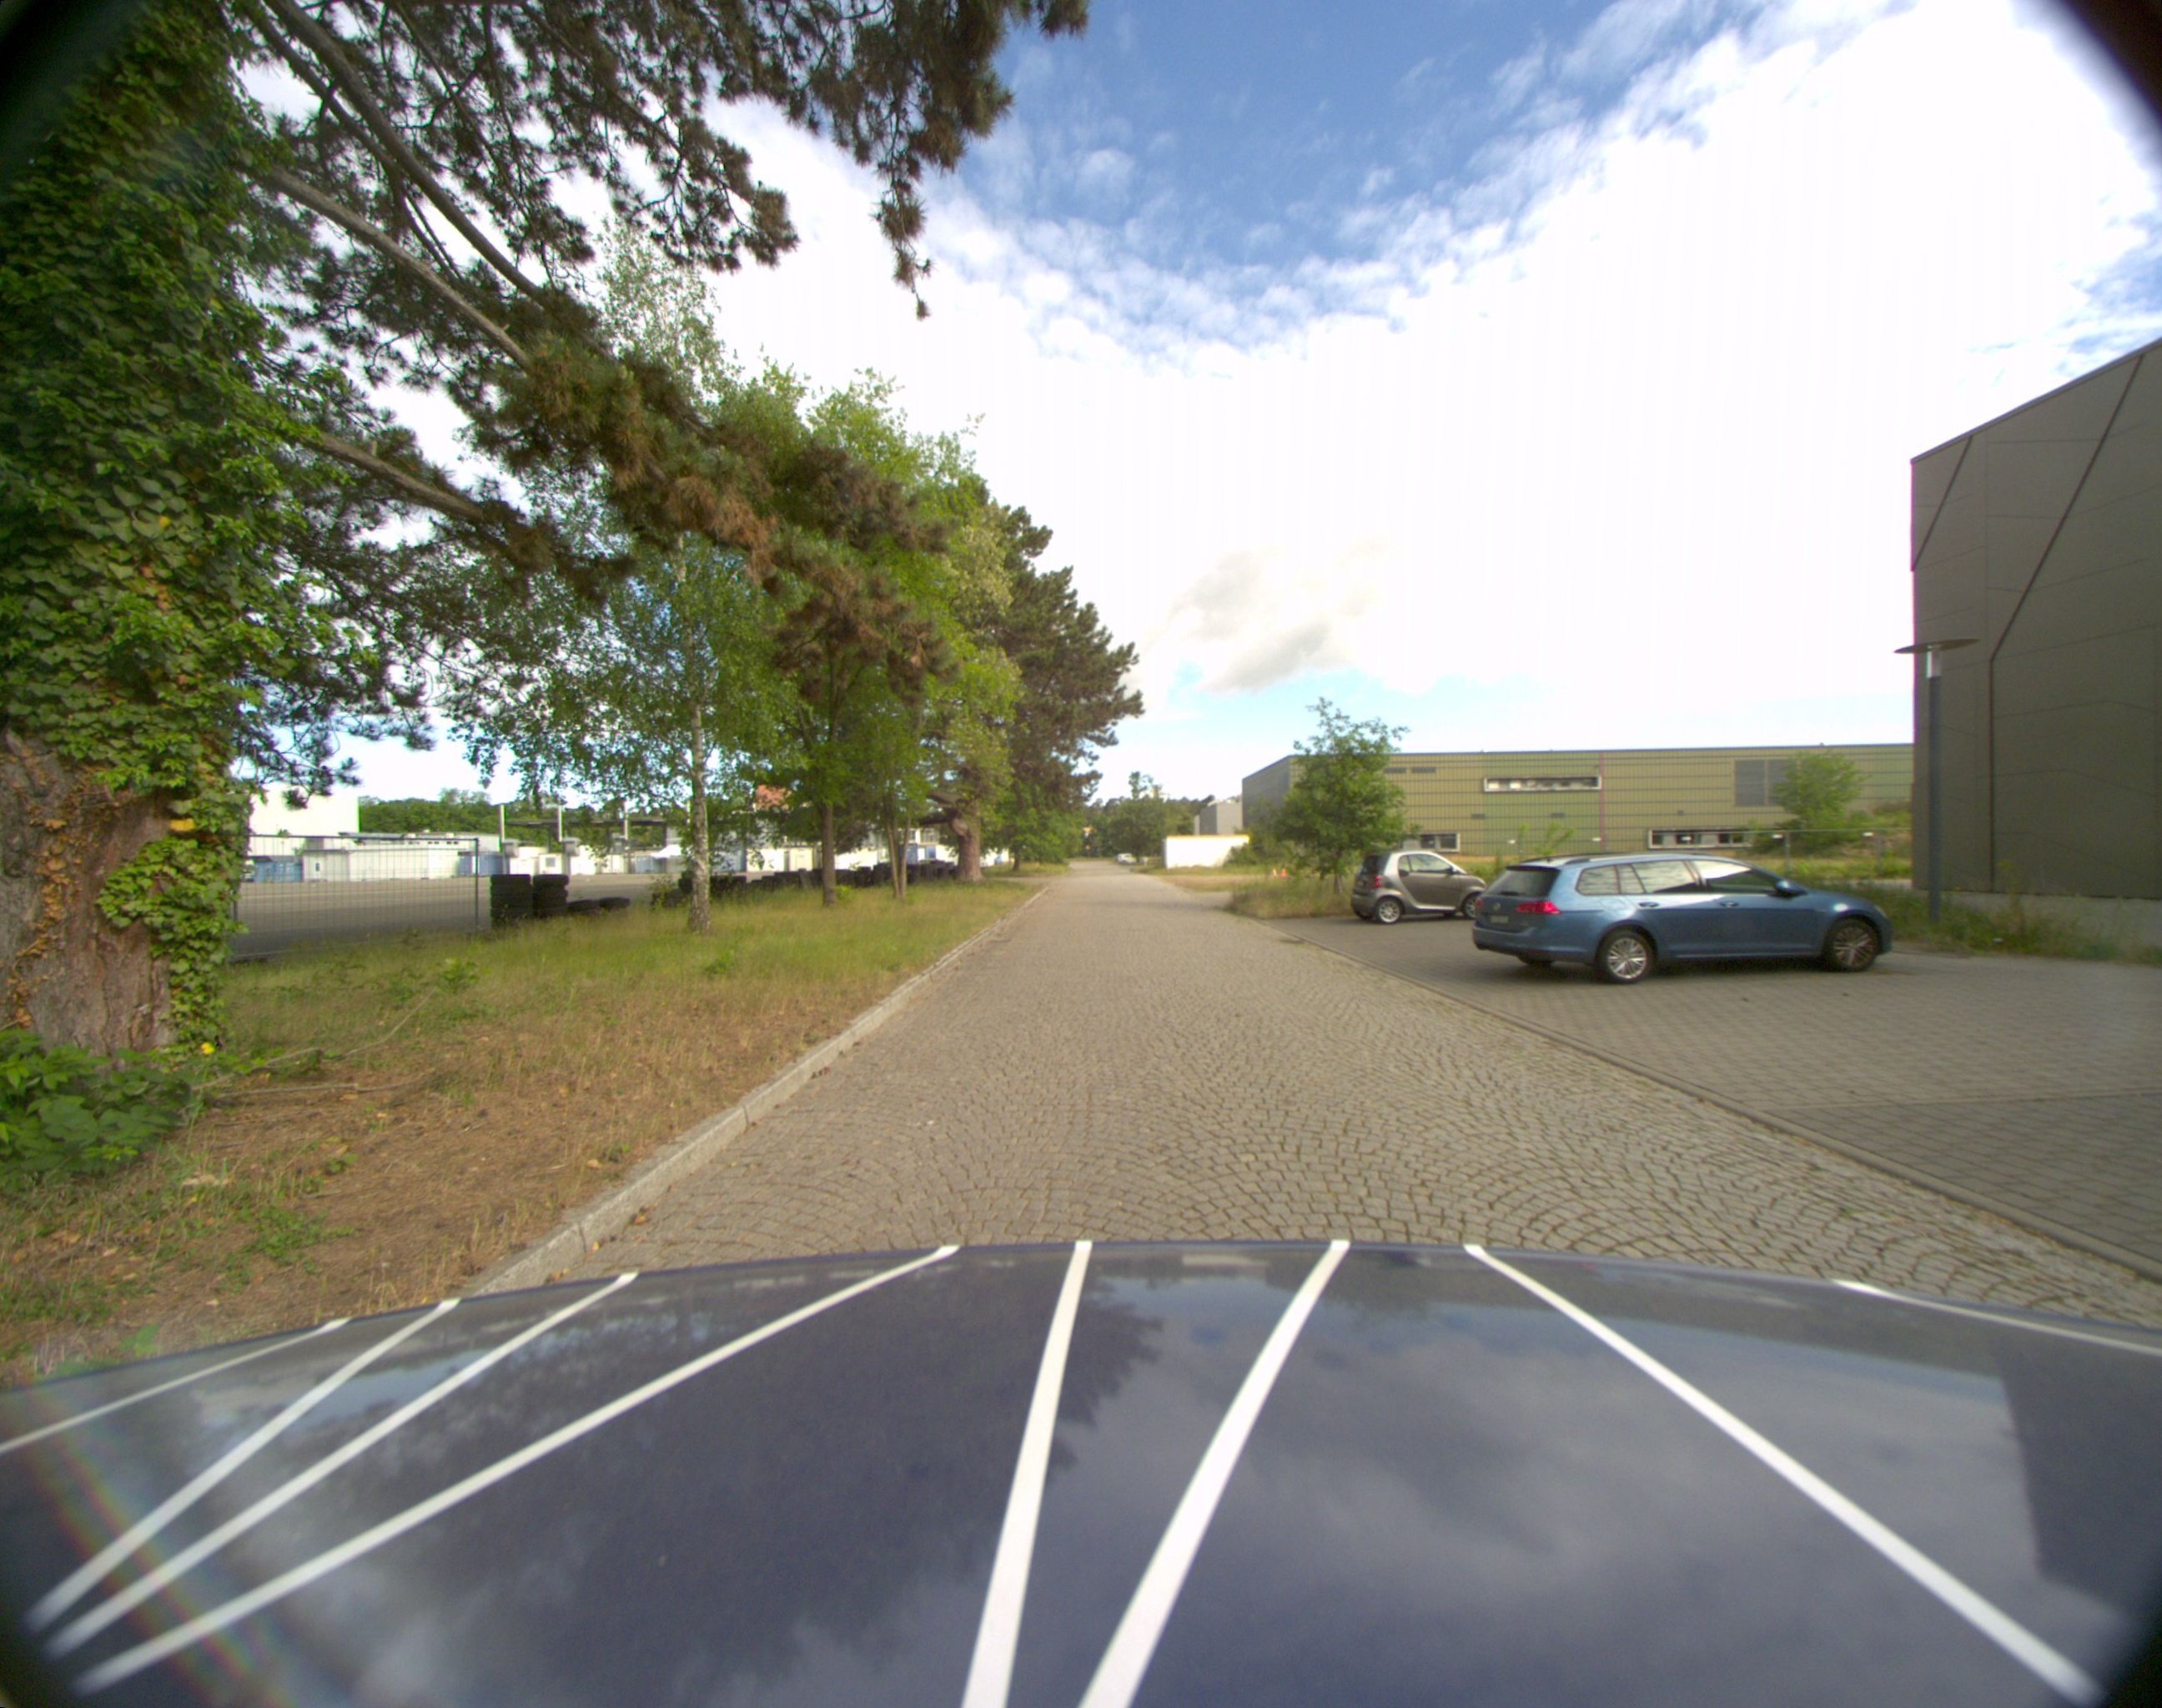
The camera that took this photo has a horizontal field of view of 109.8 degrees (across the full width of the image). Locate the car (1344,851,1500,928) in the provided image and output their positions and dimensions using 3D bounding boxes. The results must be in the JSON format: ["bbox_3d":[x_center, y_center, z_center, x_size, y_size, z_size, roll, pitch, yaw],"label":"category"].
[{"bbox_3d":[7.399,0.743,16.687,2.661,1.502,1.610,-2,0,0],"label":"car"}]

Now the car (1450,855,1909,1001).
[{"bbox_3d":[7.148,0.820,9.373,4.317,1.420,1.773,-2,0,-2],"label":"car"}]

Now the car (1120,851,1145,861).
[{"bbox_3d":[8.340,0.270,123.907,3.996,1.604,1.797,-1,1,4],"label":"car"}]
